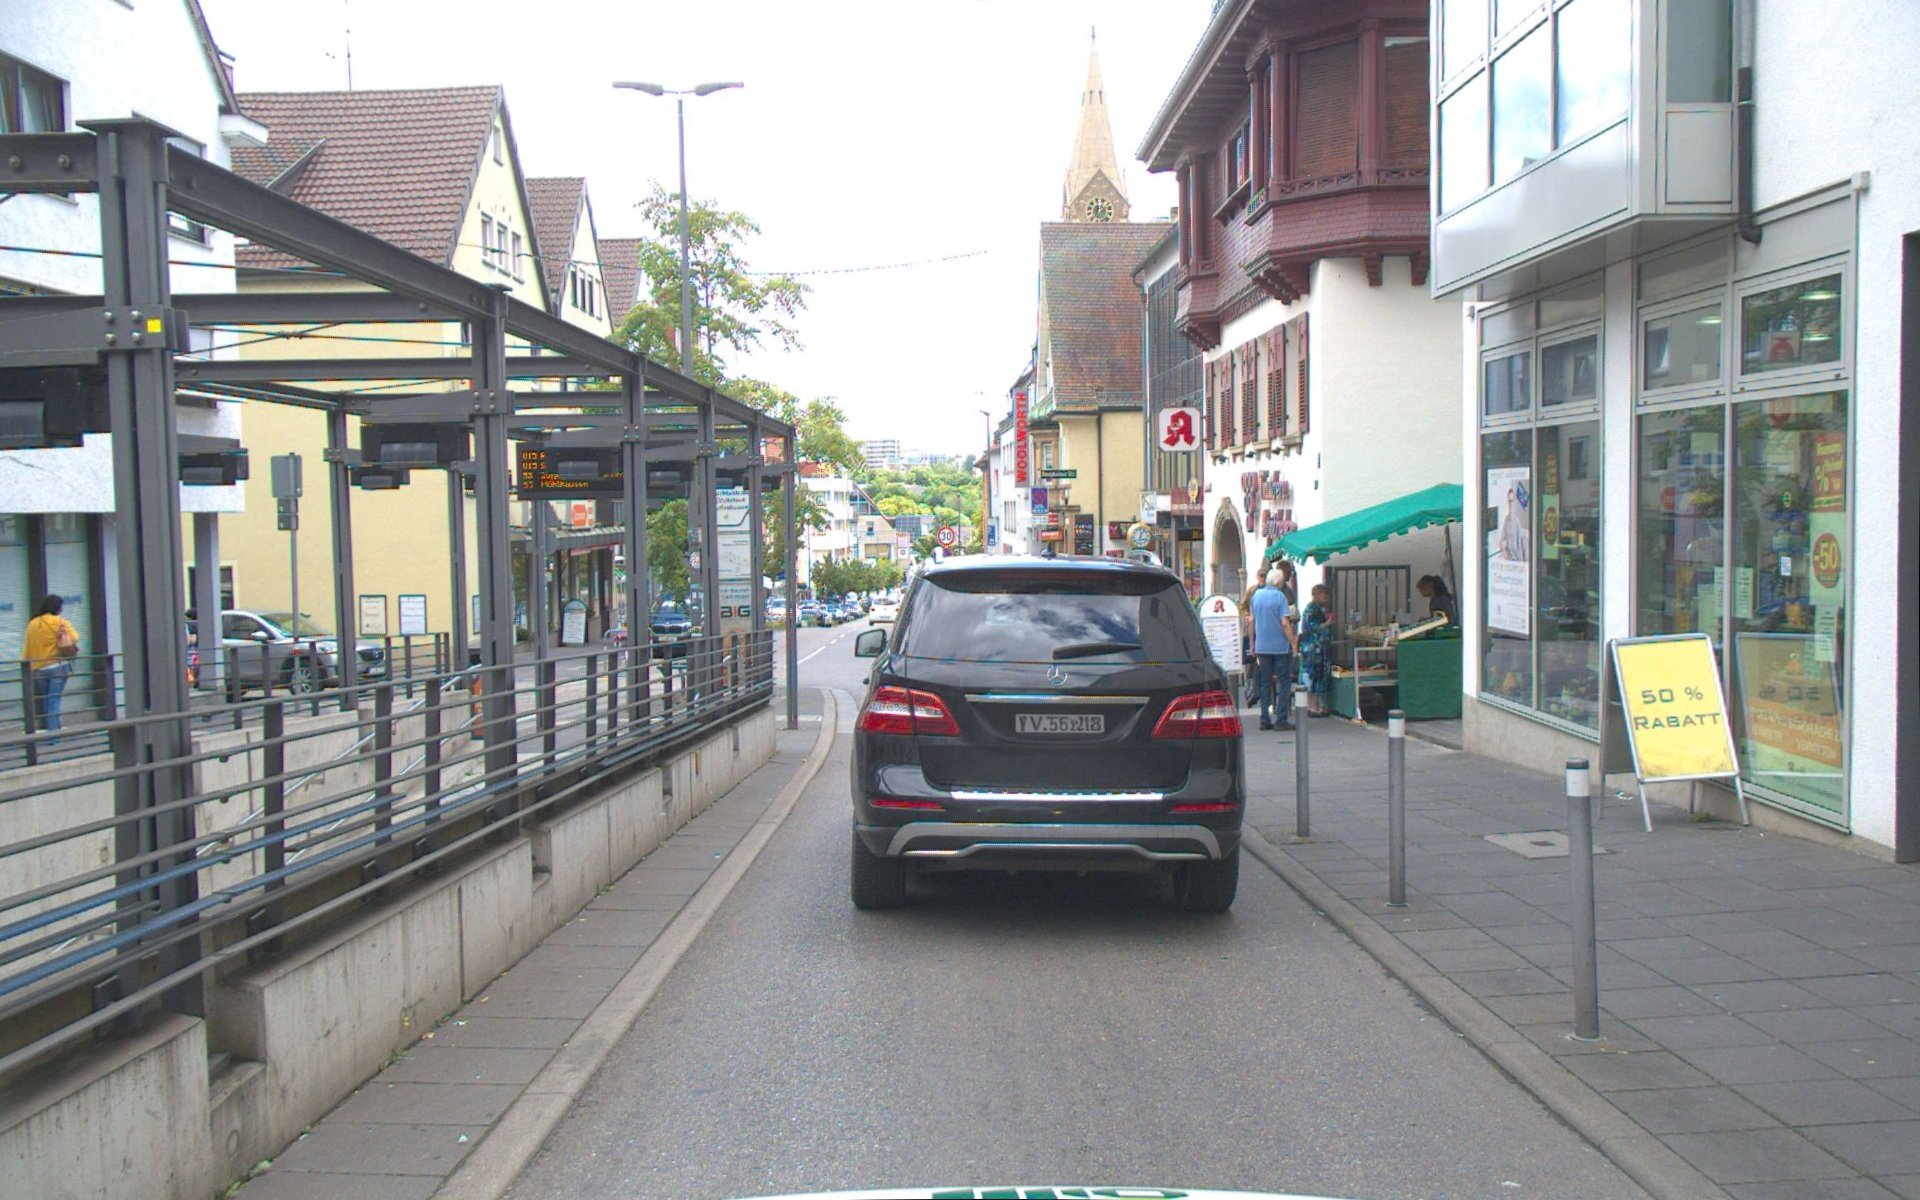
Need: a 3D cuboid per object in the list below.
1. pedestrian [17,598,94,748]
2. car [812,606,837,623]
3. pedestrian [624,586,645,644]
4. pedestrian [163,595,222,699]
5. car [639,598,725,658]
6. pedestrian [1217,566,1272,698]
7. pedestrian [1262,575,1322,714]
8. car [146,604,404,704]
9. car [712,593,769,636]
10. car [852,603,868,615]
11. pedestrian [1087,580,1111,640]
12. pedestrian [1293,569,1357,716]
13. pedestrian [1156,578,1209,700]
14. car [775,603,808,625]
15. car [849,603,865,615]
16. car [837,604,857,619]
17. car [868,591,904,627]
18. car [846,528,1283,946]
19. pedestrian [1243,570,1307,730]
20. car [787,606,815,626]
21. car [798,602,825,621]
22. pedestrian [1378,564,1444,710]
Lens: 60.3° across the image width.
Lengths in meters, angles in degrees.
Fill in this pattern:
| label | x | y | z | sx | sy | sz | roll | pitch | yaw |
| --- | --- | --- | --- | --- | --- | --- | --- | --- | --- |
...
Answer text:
| label | x | y | z | sx | sy | sz | roll | pitch | yaw |
| --- | --- | --- | --- | --- | --- | --- | --- | --- | --- |
| pedestrian | -10.566 | 0.838 | 19.330 | 0.566 | 1.718 | 0.576 | 1 | 0 | -1 |
| car | -9.001 | 0.959 | 109.953 | 1.360 | 1.089 | 3.112 | -1 | 0 | 0 |
| pedestrian | -9.733 | 0.459 | 49.498 | 0.502 | 1.718 | 0.541 | 1 | 0 | -1 |
| pedestrian | -12.926 | 0.780 | 27.872 | 0.639 | 1.718 | 0.730 | 1 | 0 | -3 |
| car | -7.503 | 0.720 | 44.961 | 1.655 | 1.516 | 3.978 | 1 | 0 | 0 |
| pedestrian | 4.061 | 0.448 | 23.617 | 0.626 | 1.841 | 0.684 | 1 | 0 | -2 |
| pedestrian | 4.162 | 0.551 | 20.761 | 0.562 | 1.718 | 0.565 | 1 | 0 | -7 |
| car | -12.625 | 0.958 | 30.565 | 4.090 | 1.761 | 1.836 | 0 | 0 | 12 |
| car | -8.234 | 0.521 | 62.211 | 1.626 | 1.516 | 3.747 | 1 | 0 | 0 |
| car | -9.918 | 0.919 | 163.732 | 1.360 | 1.089 | 3.112 | -1 | 0 | 0 |
| pedestrian | 4.034 | 0.296 | 47.956 | 0.594 | 1.718 | 0.724 | -1 | 0 | -1 |
| pedestrian | 4.352 | 0.498 | 19.757 | 0.562 | 1.718 | 0.565 | -1 | 0 | -7 |
| pedestrian | 3.170 | 0.548 | 23.595 | 0.609 | 1.718 | 0.565 | 1 | 0 | -7 |
| car | -8.614 | 0.708 | 84.768 | 1.360 | 1.089 | 3.112 | -1 | 0 | 0 |
| car | -9.853 | 0.893 | 158.445 | 1.360 | 1.089 | 3.112 | -1 | 0 | 0 |
| car | -8.939 | 0.888 | 131.181 | 1.360 | 1.089 | 3.112 | -1 | 0 | 0 |
| car | -3.801 | 0.446 | 85.588 | 1.734 | 1.743 | 3.999 | 1 | 0 | -1 |
| car | 0.379 | 0.588 | 9.128 | 1.862 | 1.777 | 3.998 | 1 | 0 | -2 |
| pedestrian | 3.524 | 0.553 | 18.526 | 0.531 | 1.756 | 0.527 | -1 | 0 | -7 |
| car | -9.220 | 0.922 | 96.132 | 1.360 | 1.089 | 3.112 | -1 | 0 | 0 |
| car | -9.138 | 0.677 | 101.957 | 1.360 | 1.089 | 3.112 | -1 | 0 | 0 |
| pedestrian | 5.425 | 0.437 | 19.912 | 0.562 | 1.718 | 0.565 | -1 | 0 | -7 |
